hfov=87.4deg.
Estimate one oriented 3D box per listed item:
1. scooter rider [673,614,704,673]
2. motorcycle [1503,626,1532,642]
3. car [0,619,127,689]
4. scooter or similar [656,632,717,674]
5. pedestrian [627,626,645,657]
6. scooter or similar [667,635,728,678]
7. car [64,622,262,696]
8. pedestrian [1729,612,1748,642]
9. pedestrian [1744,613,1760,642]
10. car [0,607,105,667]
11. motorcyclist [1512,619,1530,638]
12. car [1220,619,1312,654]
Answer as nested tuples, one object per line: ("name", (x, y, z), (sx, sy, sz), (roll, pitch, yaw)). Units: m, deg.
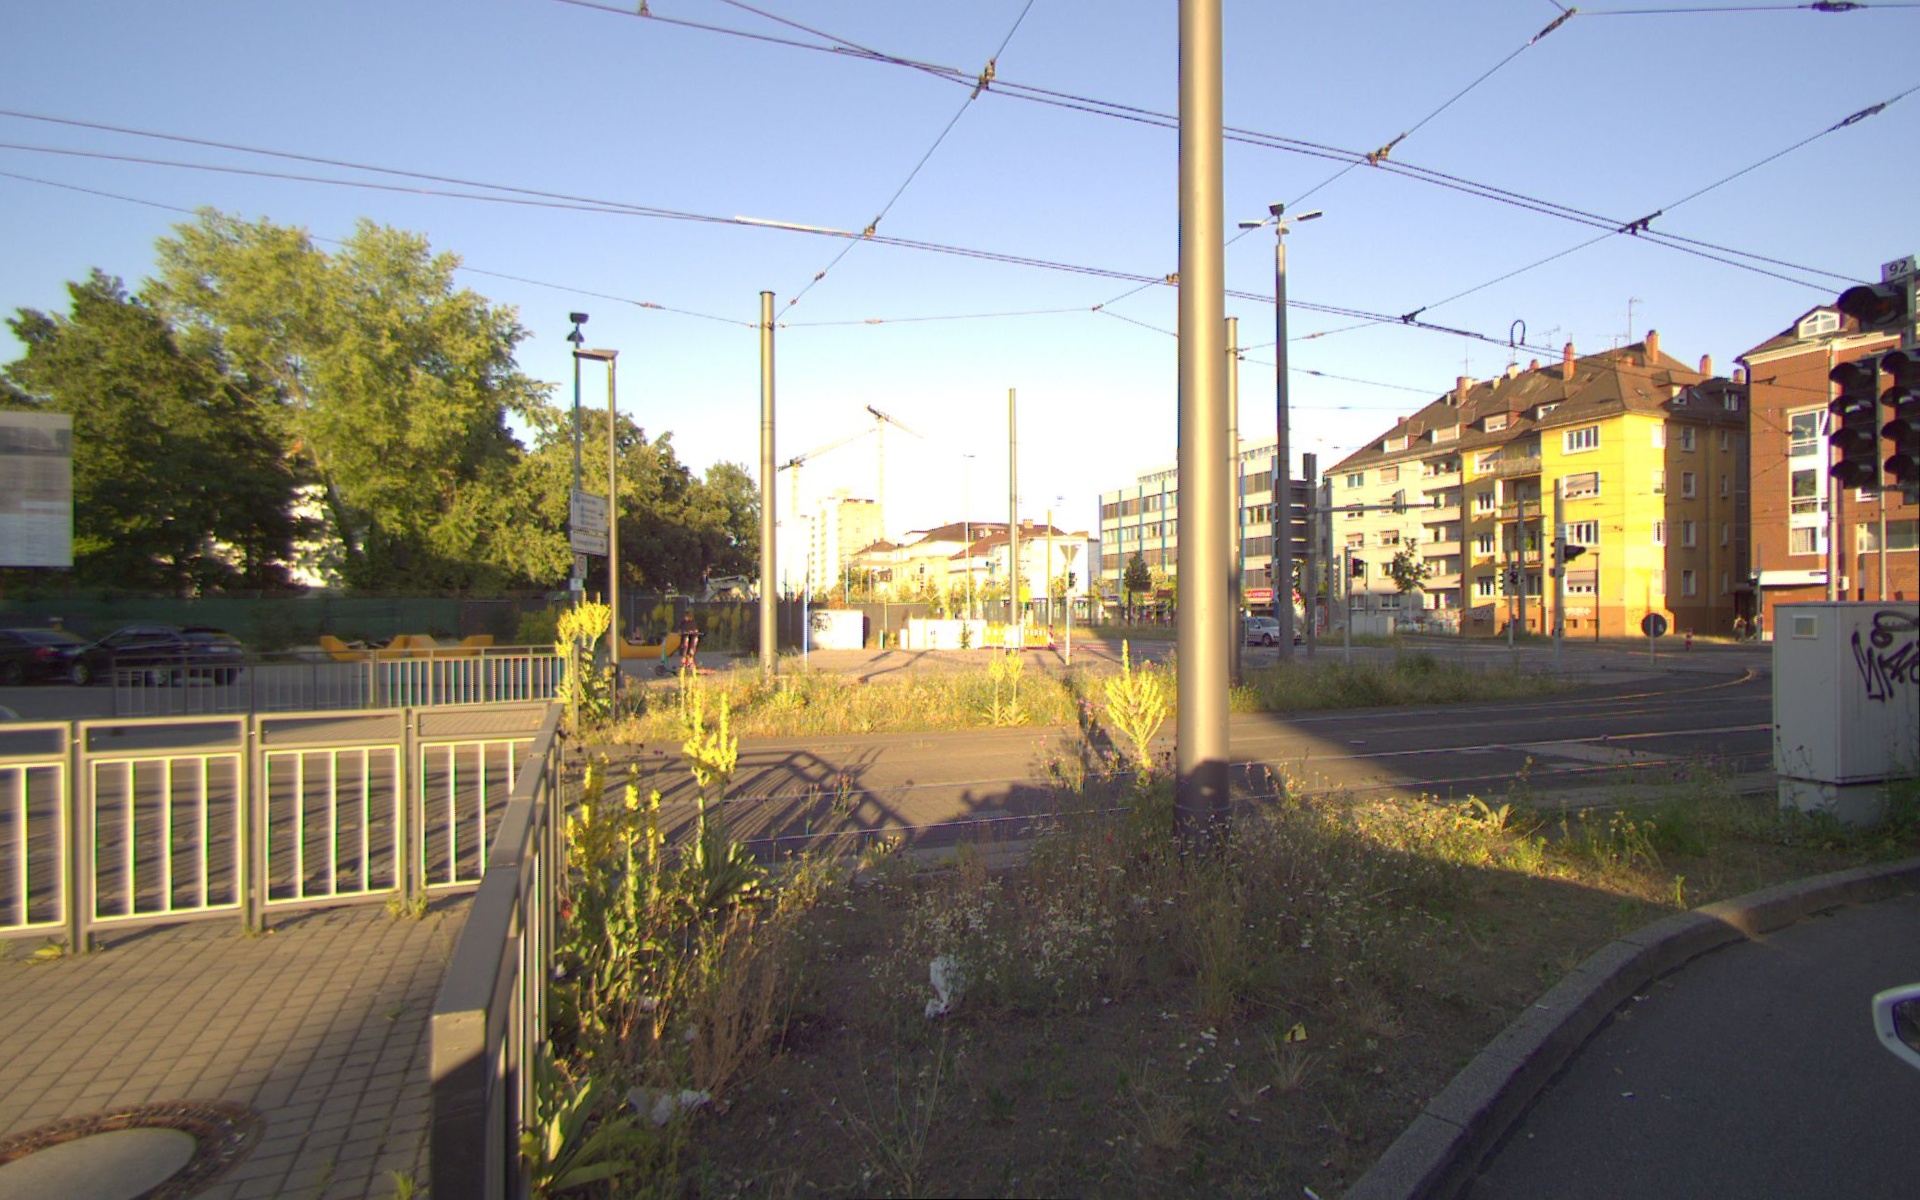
("scooter rider", (-7.546, 1.199, 27.907), (0.652, 1.614, 0.580), (0, 1, -39))
("motorcycle", (37.373, 2.274, 67.390), (0.426, 0.921, 1.829), (0, 1, -22))
("car", (-24.213, 1.351, 26.223), (3.920, 1.598, 2.000), (1, 1, 18))
("scooter or similar", (-7.587, 1.456, 27.889), (1.612, 1.077, 0.421), (0, 1, -43))
("pedestrian", (-13.251, 1.708, 41.081), (0.694, 1.227, 0.723), (0, 1, -19))
("scooter or similar", (-7.165, 1.527, 27.486), (1.612, 1.097, 0.421), (0, 1, -43))
("car", (-19.621, 1.406, 24.774), (3.920, 1.567, 2.000), (1, 1, 18))
("pedestrian", (45.518, 1.580, 58.730), (0.654, 1.766, 0.691), (1, 0, 18))
("pedestrian", (46.822, 1.636, 59.361), (0.493, 1.664, 0.550), (0, 1, -19))
("car", (-32.937, 1.285, 35.315), (3.942, 2.040, 1.990), (0, -1, -22))
("motorcyclist", (37.530, 1.887, 67.211), (0.777, 1.237, 0.702), (0, 1, -24))
("car", (15.047, 1.773, 49.668), (1.973, 1.572, 4.325), (0, 0, -25))
